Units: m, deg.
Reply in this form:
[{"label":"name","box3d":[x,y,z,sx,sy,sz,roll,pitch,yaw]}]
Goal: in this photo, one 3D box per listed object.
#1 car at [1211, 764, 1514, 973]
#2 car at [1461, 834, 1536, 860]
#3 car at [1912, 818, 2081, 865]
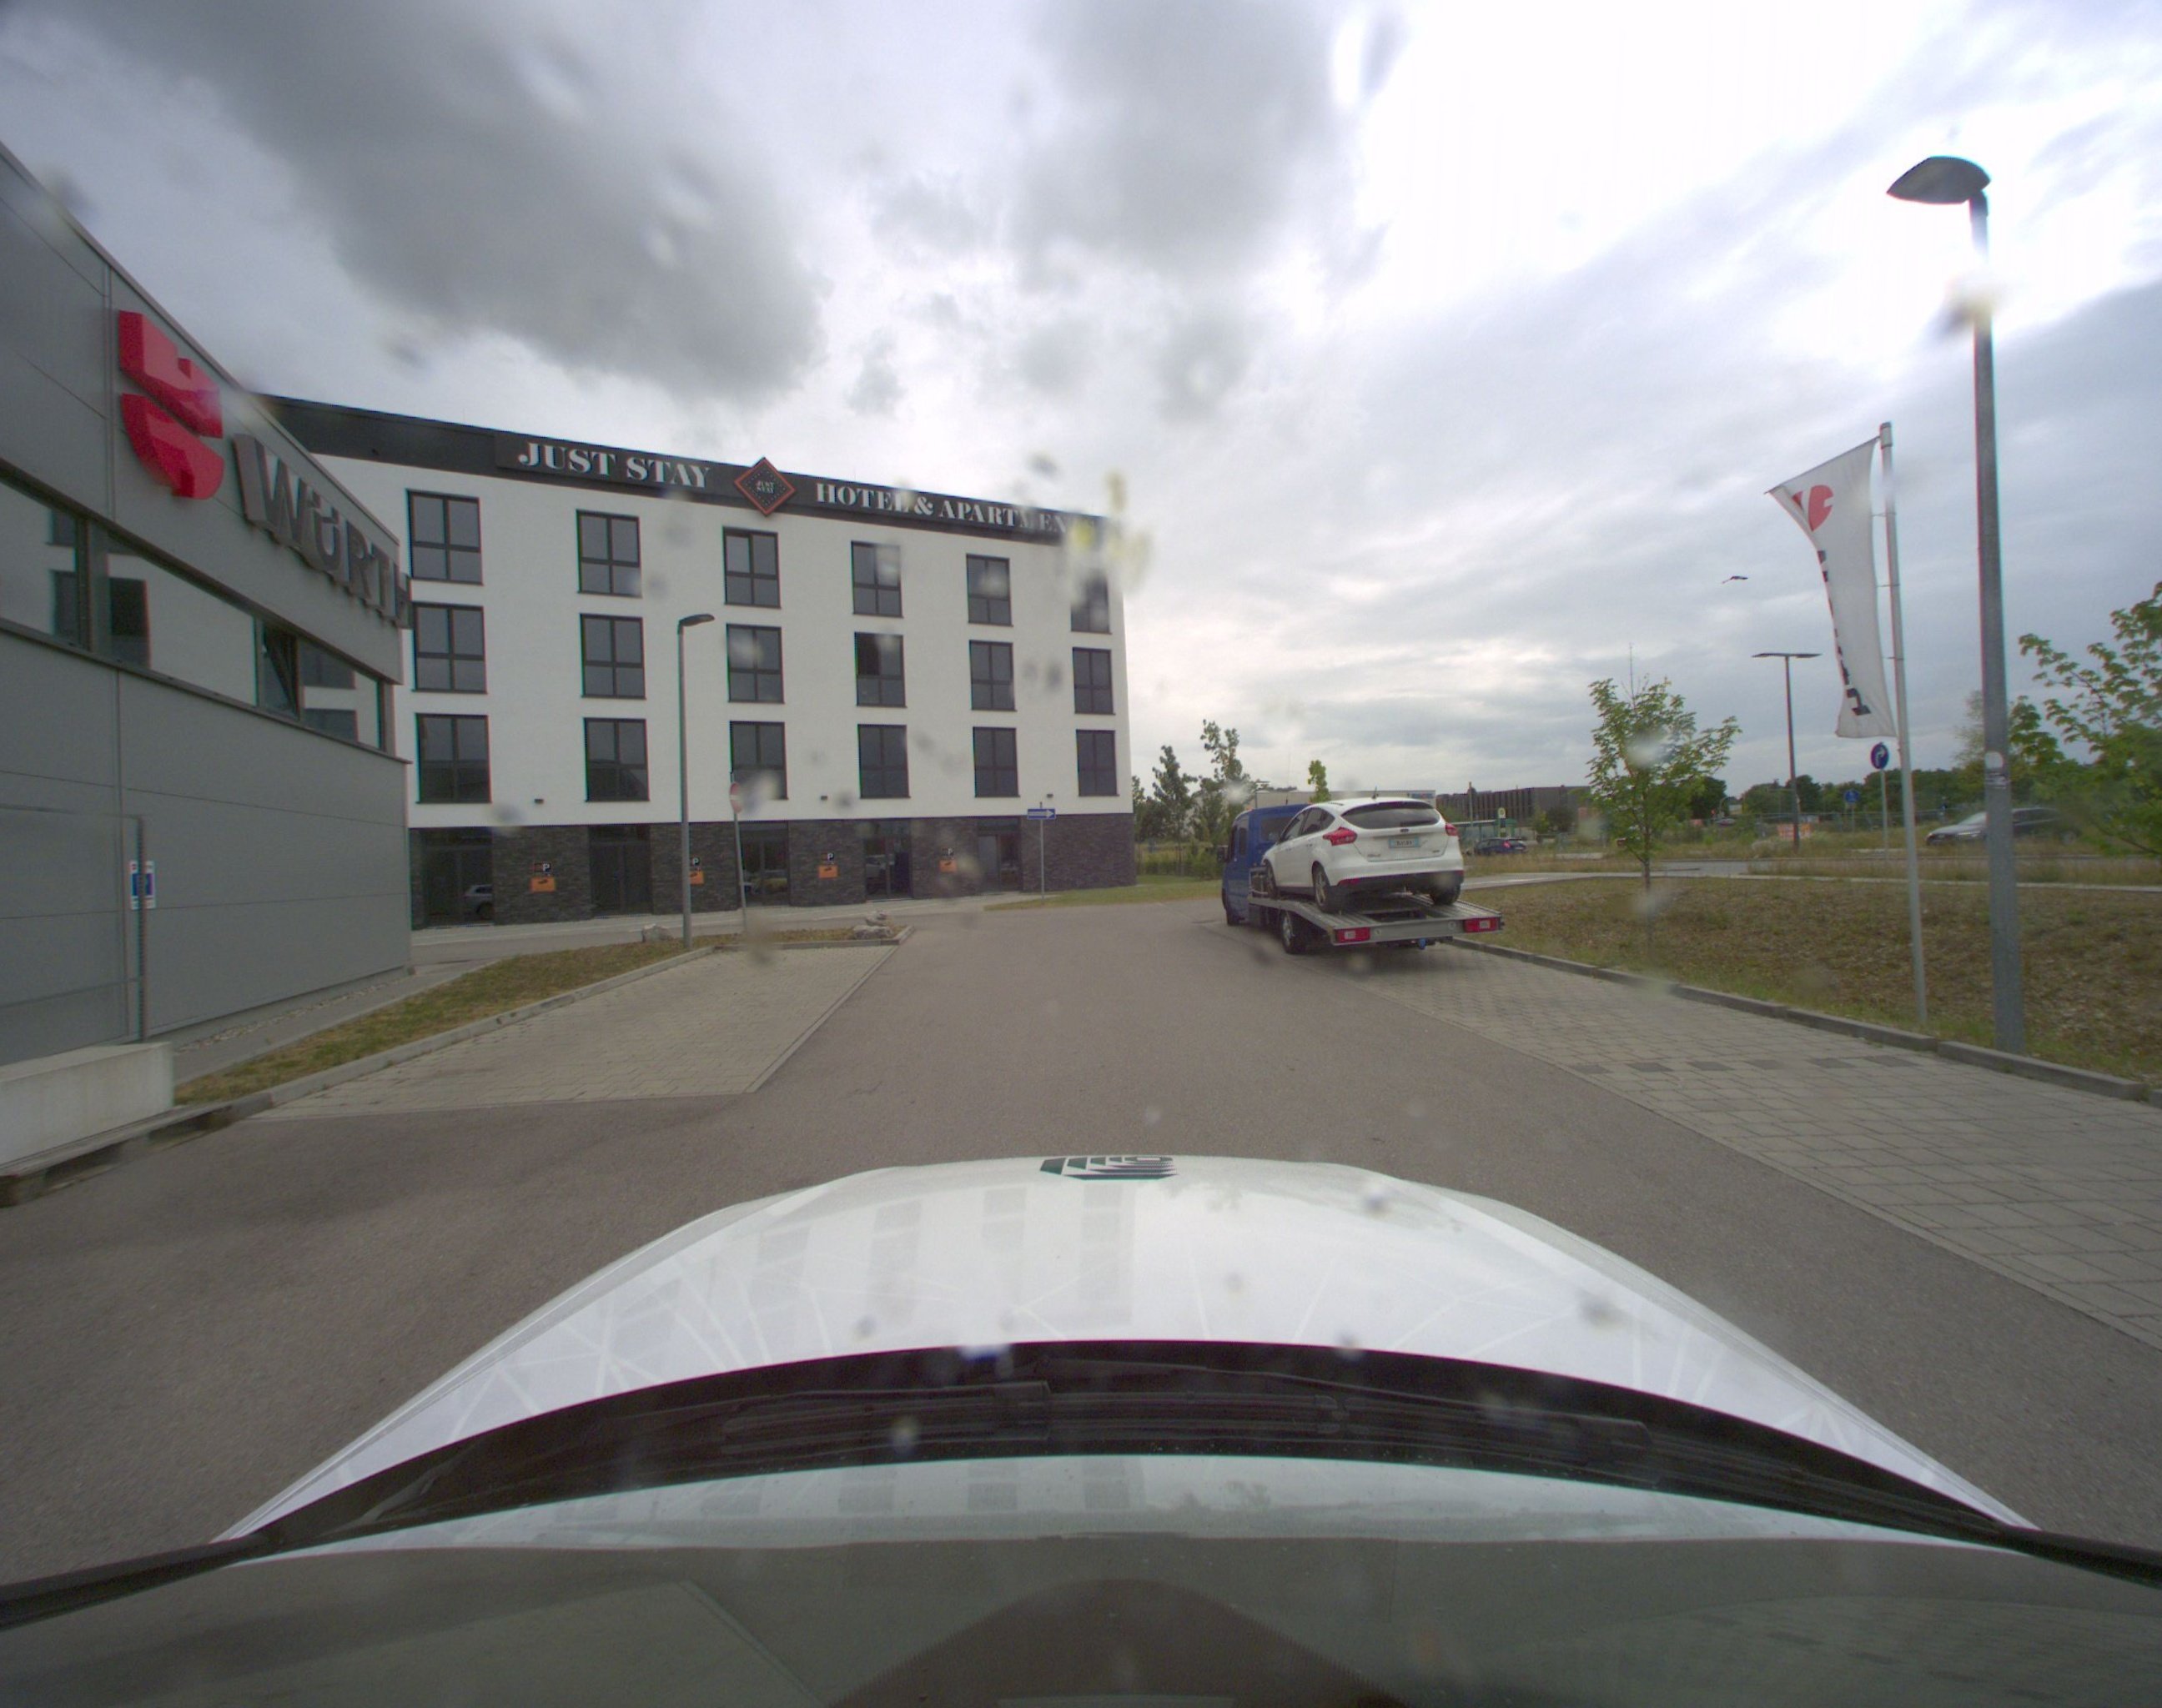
[{"label":"car","box3d":[3.890,0.180,13.364,2.187,2.322,7.856,-3,0,0]},{"label":"car","box3d":[23.866,-0.396,46.738,1.715,1.324,3.985,-3,0,-11]},{"label":"car","box3d":[33.026,-0.436,29.446,4.298,1.466,1.795,-3,0,-4]}]
